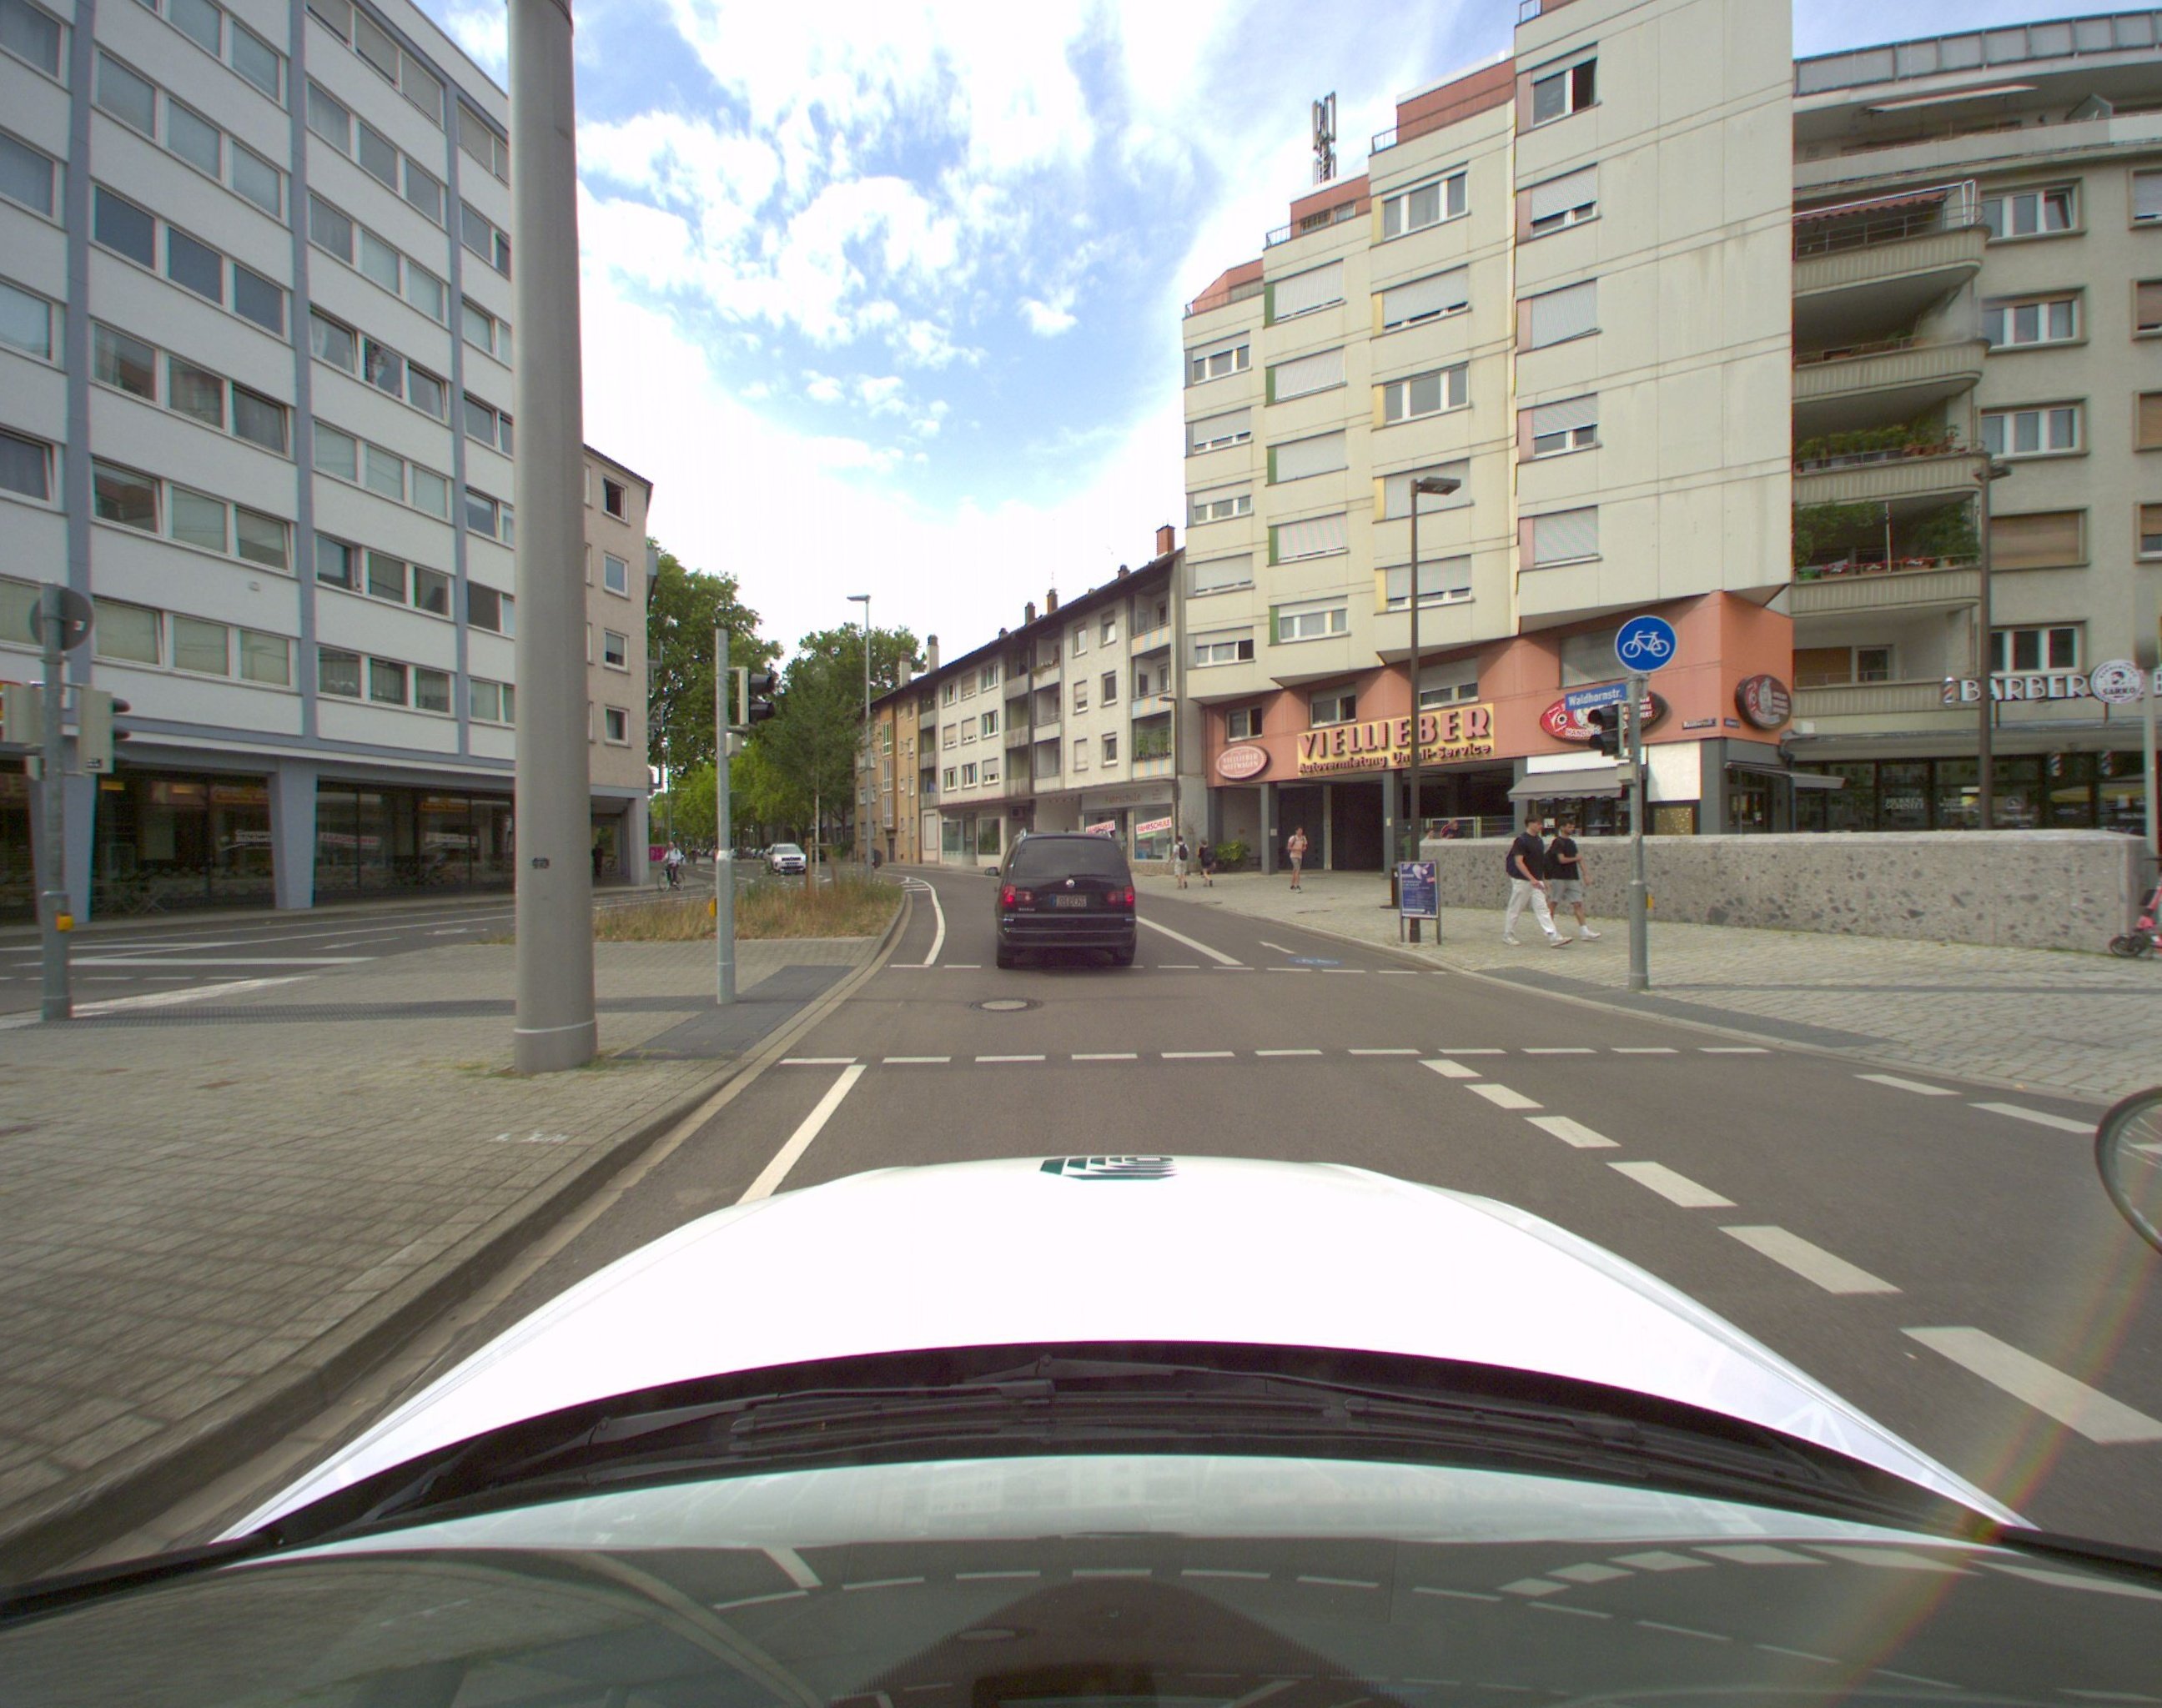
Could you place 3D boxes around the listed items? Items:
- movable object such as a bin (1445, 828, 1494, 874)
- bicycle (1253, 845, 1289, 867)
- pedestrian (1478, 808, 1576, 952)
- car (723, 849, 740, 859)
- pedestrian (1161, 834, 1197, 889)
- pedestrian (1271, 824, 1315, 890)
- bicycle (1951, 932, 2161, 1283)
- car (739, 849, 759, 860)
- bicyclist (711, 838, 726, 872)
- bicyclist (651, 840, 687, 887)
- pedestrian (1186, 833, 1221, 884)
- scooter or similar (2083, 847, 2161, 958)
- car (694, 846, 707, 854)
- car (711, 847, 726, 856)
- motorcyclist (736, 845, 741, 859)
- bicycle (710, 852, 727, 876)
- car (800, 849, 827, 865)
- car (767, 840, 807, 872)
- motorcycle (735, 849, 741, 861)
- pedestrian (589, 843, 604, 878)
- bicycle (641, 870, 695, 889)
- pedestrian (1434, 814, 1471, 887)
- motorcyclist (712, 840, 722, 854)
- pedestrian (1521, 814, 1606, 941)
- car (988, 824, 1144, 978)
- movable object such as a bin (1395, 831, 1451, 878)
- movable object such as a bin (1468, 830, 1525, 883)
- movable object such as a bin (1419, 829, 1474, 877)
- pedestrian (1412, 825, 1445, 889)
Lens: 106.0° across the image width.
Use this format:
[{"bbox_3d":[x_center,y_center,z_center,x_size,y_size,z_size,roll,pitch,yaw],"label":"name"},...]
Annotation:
[{"bbox_3d":[13.097,-0.118,27.460,1.009,1.515,1.156,-1,1,-33],"label":"movable object such as a bin"},{"bbox_3d":[8.061,0.059,34.584,0.455,0.896,1.661,-1,2,-32],"label":"bicycle"},{"bbox_3d":[6.451,0.342,11.804,0.725,1.971,1.003,-4,3,-37],"label":"pedestrian"},{"bbox_3d":[-53.086,-0.002,123.555,1.687,1.394,4.415,0,0,-33],"label":"car"},{"bbox_3d":[3.274,0.232,27.145,0.754,1.749,0.853,-5,2,-24],"label":"pedestrian"},{"bbox_3d":[6.199,0.085,23.821,0.660,1.852,0.962,-4,2,-29],"label":"pedestrian"},{"bbox_3d":[3.871,0.890,2.391,0.405,1.122,2.015,-1,0,-3],"label":"bicycle"},{"bbox_3d":[-43.624,0.035,107.021,1.641,1.470,4.273,0,0,-33],"label":"car"},{"bbox_3d":[-18.699,0.047,41.991,0.541,1.743,0.750,-1,0,-32],"label":"bicyclist"},{"bbox_3d":[-14.883,0.326,29.440,0.603,1.646,1.042,-1,1,16],"label":"bicyclist"},{"bbox_3d":[4.162,0.154,27.628,0.609,1.668,0.934,-5,2,-33],"label":"pedestrian"},{"bbox_3d":[12.025,0.536,9.050,0.285,1.212,1.122,-1,0,-10],"label":"scooter or similar"},{"bbox_3d":[-71.928,-0.760,153.950,1.687,1.394,3.839,0,0,-33],"label":"car"},{"bbox_3d":[-60.973,-0.389,136.815,1.654,1.413,3.379,-1,1,-36],"label":"car"},{"bbox_3d":[-39.216,-0.218,93.195,0.449,1.647,0.514,-1,0,-32],"label":"motorcyclist"},{"bbox_3d":[-18.703,0.493,41.997,0.515,1.225,1.547,-1,1,-33],"label":"bicycle"},{"bbox_3d":[-27.004,0.276,82.230,1.669,1.422,3.827,-1,2,-32],"label":"car"},{"bbox_3d":[-16.074,0.070,44.408,1.840,1.659,4.292,-1,1,-23],"label":"car"},{"bbox_3d":[-39.236,0.123,93.238,0.375,1.350,1.714,-1,1,-32],"label":"motorcycle"},{"bbox_3d":[-24.840,0.331,41.740,0.585,1.757,0.776,1,-1,-32],"label":"pedestrian"},{"bbox_3d":[-14.927,0.927,29.508,0.480,0.588,2.007,-1,1,16],"label":"bicycle"},{"bbox_3d":[10.090,-0.101,22.140,0.676,1.903,0.584,-4,2,-31],"label":"pedestrian"},{"bbox_3d":[-36.661,-0.702,82.084,0.801,1.460,0.857,-3,1,-29],"label":"motorcyclist"},{"bbox_3d":[7.254,0.330,12.242,0.680,1.799,0.876,-4,3,-37],"label":"pedestrian"},{"bbox_3d":[-0.340,0.514,11.397,1.810,1.766,3.731,-1,1,-6],"label":"car"},{"bbox_3d":[10.975,0.006,26.155,1.153,1.460,1.211,-1,1,-33],"label":"movable object such as a bin"},{"bbox_3d":[12.374,0.062,24.249,1.151,1.515,1.077,-1,1,-33],"label":"movable object such as a bin"},{"bbox_3d":[12.044,-0.048,26.849,1.202,1.515,1.185,-1,1,-33],"label":"movable object such as a bin"},{"bbox_3d":[9.334,0.069,21.867,0.475,1.672,0.584,-4,2,-31],"label":"pedestrian"}]
